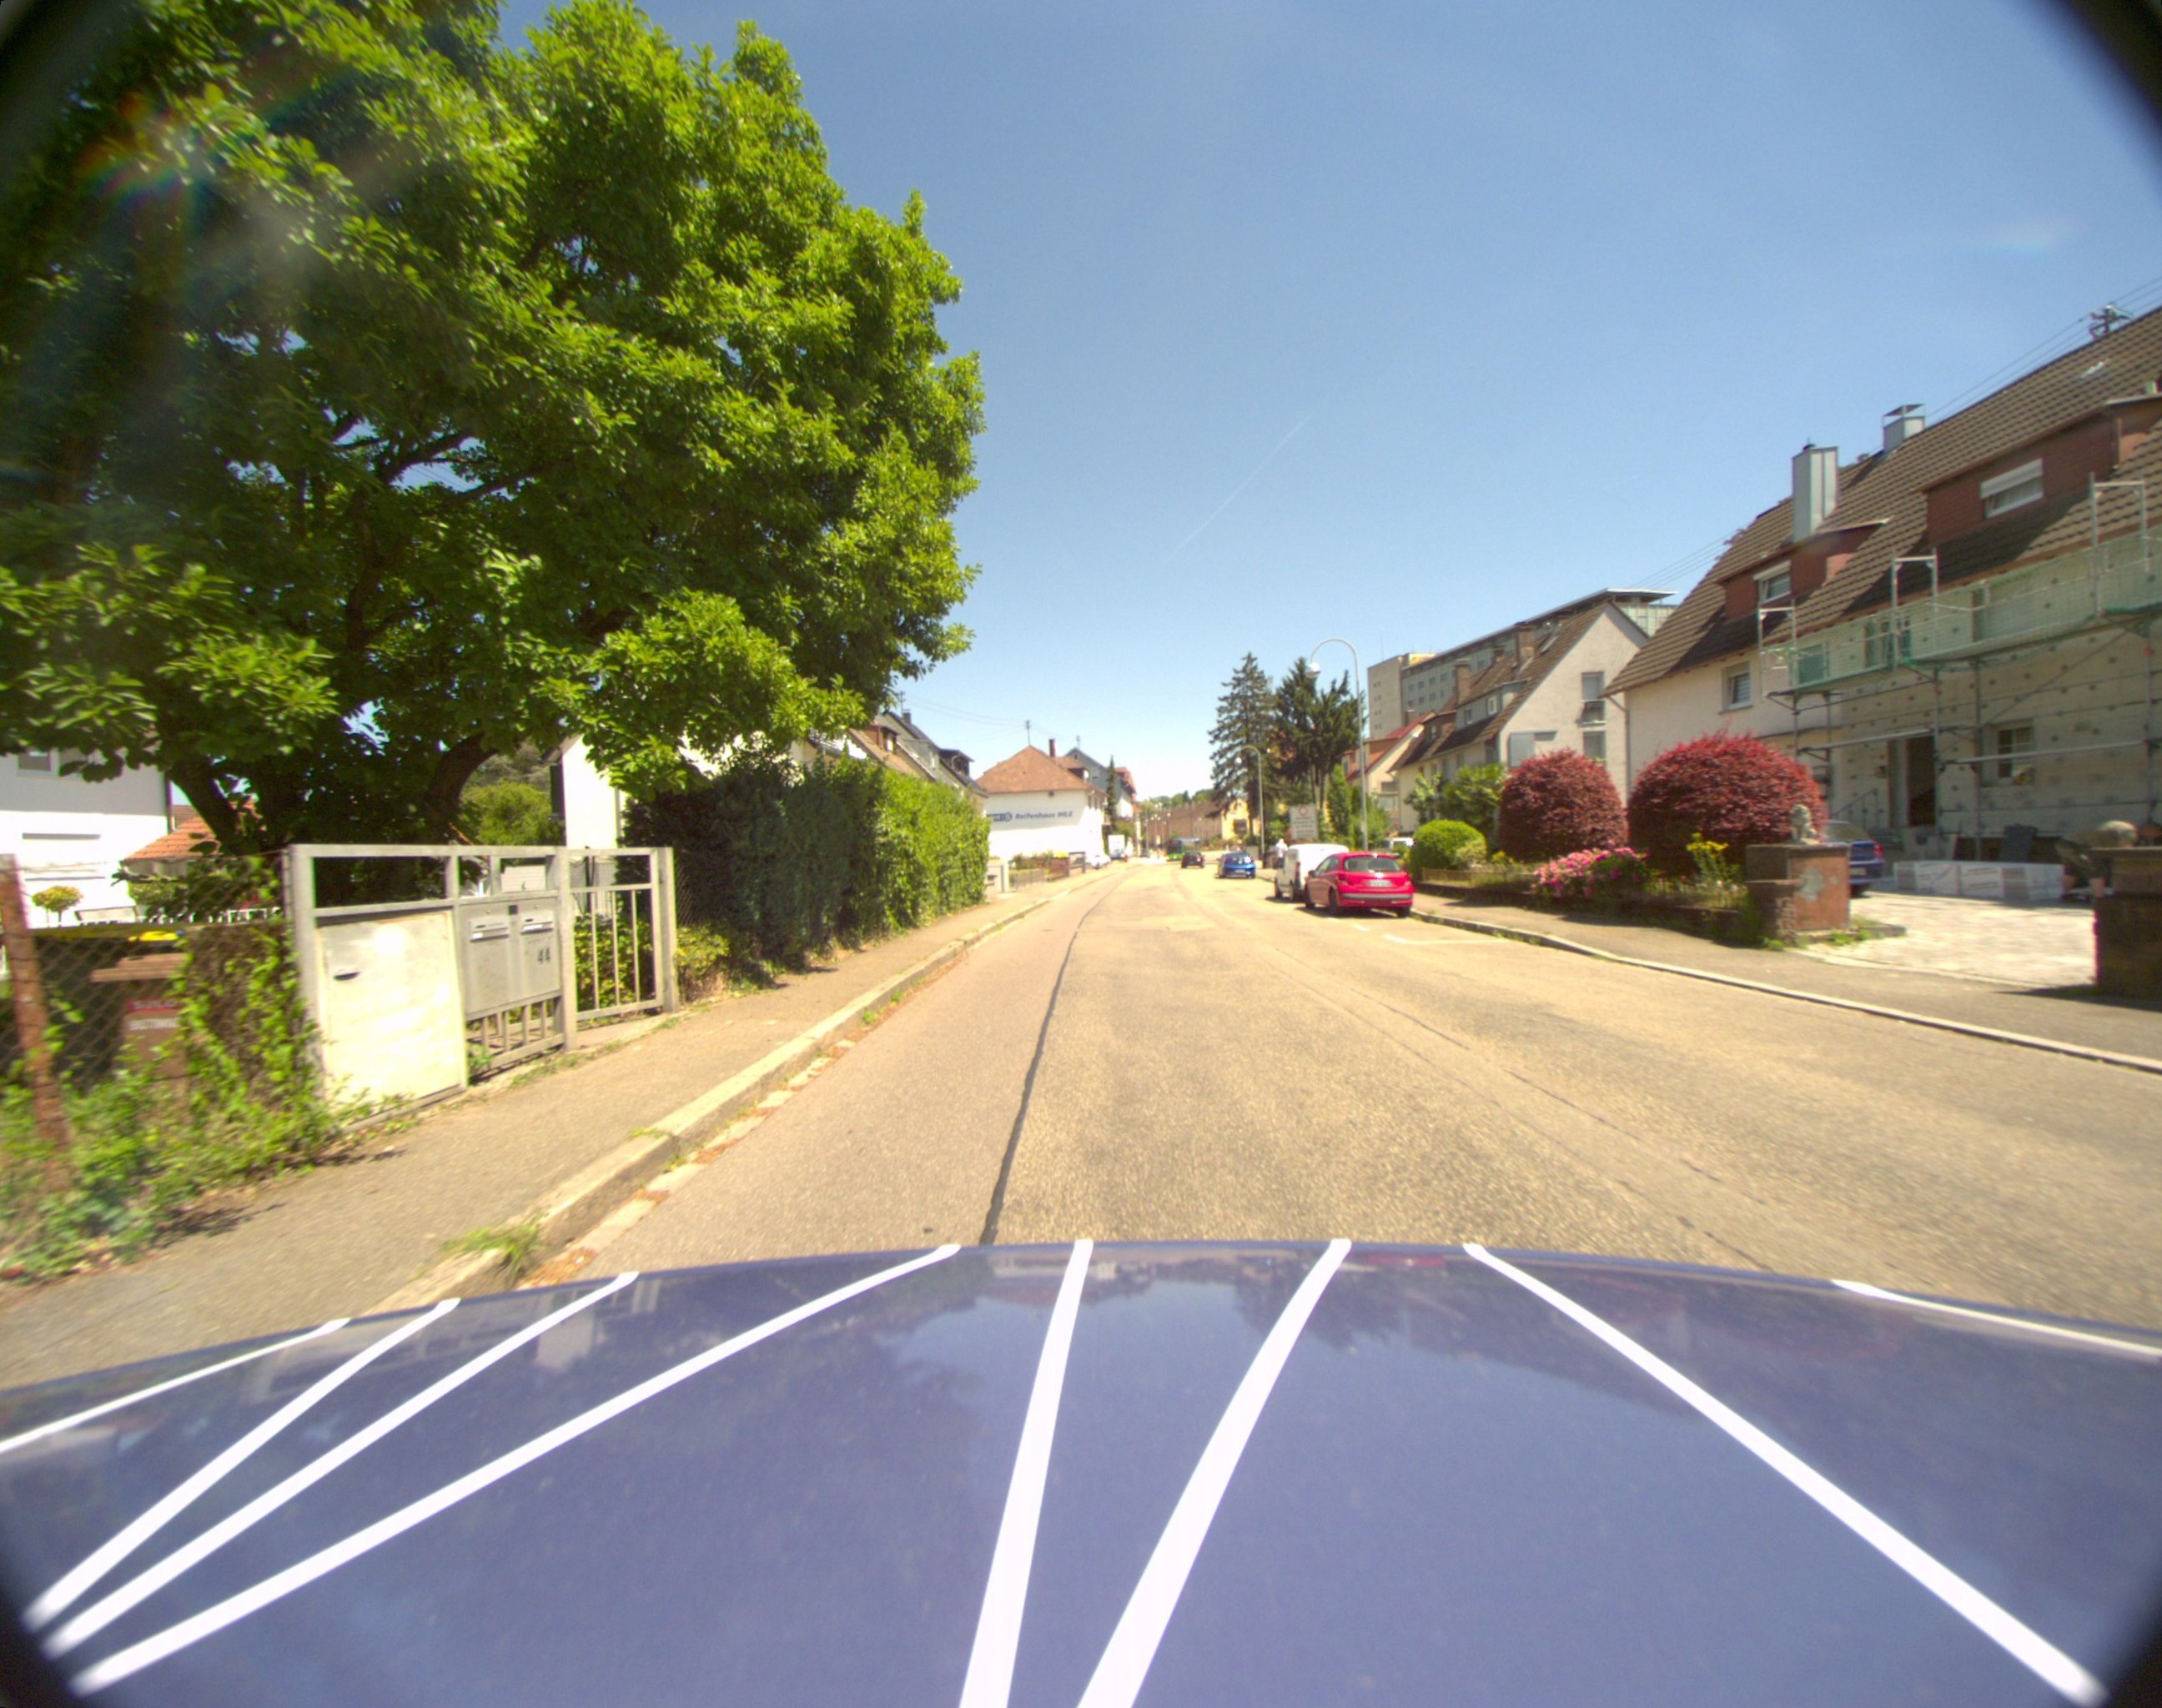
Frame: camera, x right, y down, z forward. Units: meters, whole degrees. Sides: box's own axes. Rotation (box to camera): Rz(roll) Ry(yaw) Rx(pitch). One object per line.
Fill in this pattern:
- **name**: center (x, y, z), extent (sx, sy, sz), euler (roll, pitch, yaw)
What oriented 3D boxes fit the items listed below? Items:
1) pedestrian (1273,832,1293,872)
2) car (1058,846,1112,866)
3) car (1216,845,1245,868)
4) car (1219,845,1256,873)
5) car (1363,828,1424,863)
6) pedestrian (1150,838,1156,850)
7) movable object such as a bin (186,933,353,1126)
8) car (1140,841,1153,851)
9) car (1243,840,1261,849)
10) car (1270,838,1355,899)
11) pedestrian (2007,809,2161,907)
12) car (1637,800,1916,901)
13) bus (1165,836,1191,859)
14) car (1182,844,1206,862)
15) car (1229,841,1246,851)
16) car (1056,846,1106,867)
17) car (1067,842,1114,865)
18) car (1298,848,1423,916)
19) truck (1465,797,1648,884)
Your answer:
- **pedestrian**: center (10.011, -0.095, 37.720), extent (0.690, 1.879, 1.019), euler (-7, 1, 11)
- **car**: center (0.388, 0.219, 70.333), extent (4.648, 1.400, 1.770), euler (-5, 0, 10)
- **car**: center (9.569, 0.134, 48.798), extent (1.581, 1.415, 3.942), euler (0, 1, 7)
- **car**: center (8.632, 0.252, 42.128), extent (1.772, 1.430, 4.364), euler (0, 1, 8)
- **car**: center (15.920, -0.481, 38.920), extent (1.772, 1.500, 4.362), euler (-4, 3, 7)
- **pedestrian**: center (10.466, -1.462, 110.694), extent (0.614, 1.607, 0.752), euler (1, 2, 25)
- **movable object such as a bin**: center (-4.937, 1.041, 4.651), extent (0.400, 1.058, 0.546), euler (-1, 1, 2)
- **car**: center (10.623, -1.250, 122.285), extent (1.761, 1.505, 3.743), euler (1, 2, 10)
- **car**: center (29.646, -1.594, 131.945), extent (1.807, 1.480, 4.395), euler (0, 1, 30)
- **car**: center (7.006, 0.386, 23.379), extent (1.726, 1.726, 3.888), euler (0, 1, 5)
- **pedestrian**: center (14.242, 0.032, 10.769), extent (0.705, 1.257, 1.210), euler (-5, 2, -9)
- **car**: center (13.074, -0.065, 14.691), extent (1.689, 1.505, 4.000), euler (-6, 0, 2)
- **bus**: center (14.209, -1.048, 110.402), extent (2.908, 3.063, 12.570), euler (-2, 1, 11)
- **car**: center (9.359, -0.116, 62.881), extent (1.735, 1.409, 4.003), euler (-1, 1, 11)
- **car**: center (25.162, -1.312, 121.943), extent (1.742, 1.496, 4.149), euler (0, 1, 24)
- **car**: center (-0.026, 0.236, 67.416), extent (4.293, 1.539, 1.759), euler (-4, 2, 41)
- **car**: center (0.883, -0.033, 72.845), extent (4.301, 1.820, 1.739), euler (-5, 0, 1)
- **car**: center (6.584, 0.585, 18.366), extent (1.764, 1.469, 4.059), euler (0, 1, 4)
- **truck**: center (12.690, -0.349, 20.439), extent (3.776, 1.926, 1.547), euler (-5, 0, 4)
